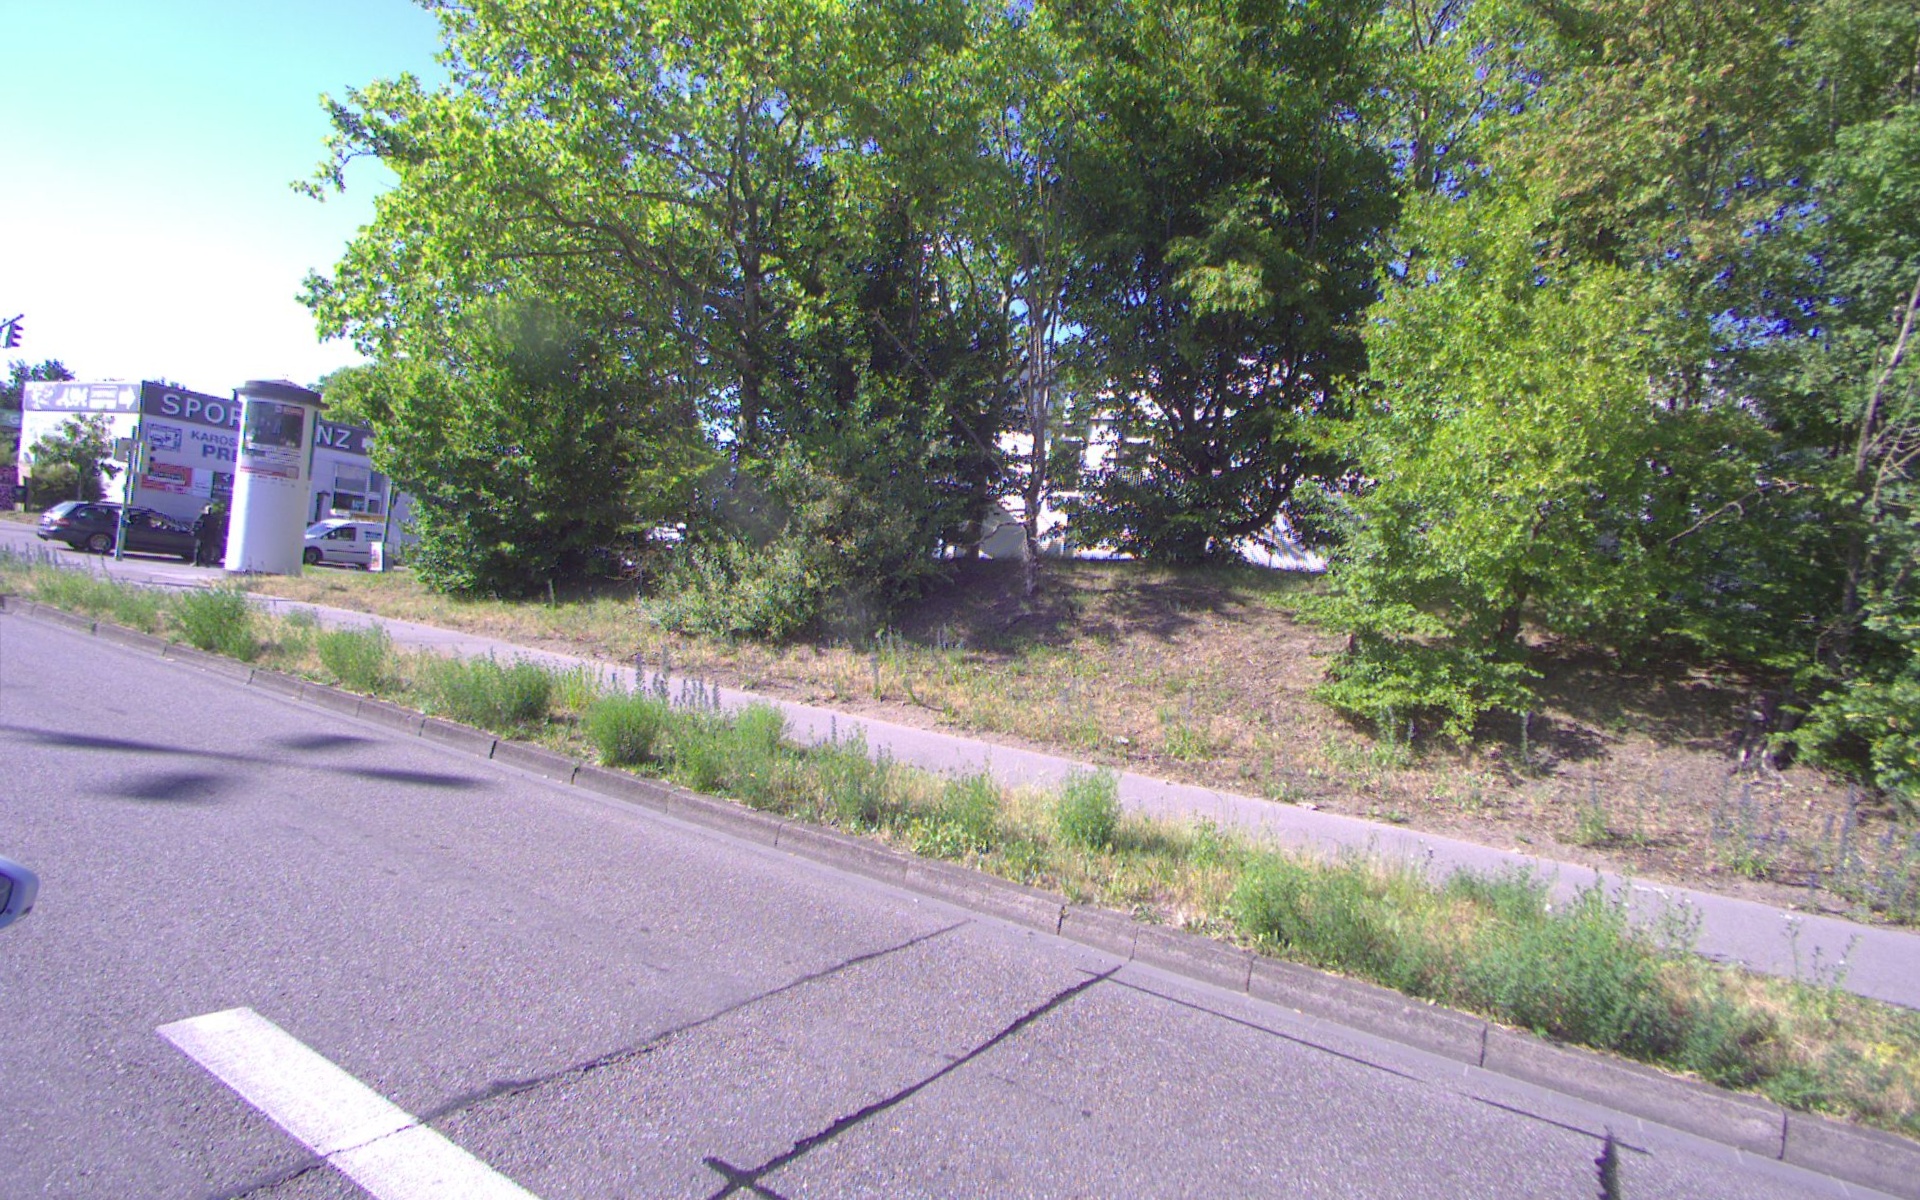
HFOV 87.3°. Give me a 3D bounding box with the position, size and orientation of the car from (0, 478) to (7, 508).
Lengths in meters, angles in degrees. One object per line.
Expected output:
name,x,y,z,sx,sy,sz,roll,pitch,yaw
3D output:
car,-49.234,-5.492,48.470,1.828,1.472,4.490,7,1,33

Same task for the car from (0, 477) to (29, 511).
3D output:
car,-46.883,-5.226,47.100,1.828,1.472,4.490,7,1,33

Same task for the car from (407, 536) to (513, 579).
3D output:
car,-23.022,-1.950,46.454,1.752,1.509,4.045,7,1,30

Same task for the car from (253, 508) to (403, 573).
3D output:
car,-23.876,-2.197,38.183,1.735,1.824,4.387,9,1,30

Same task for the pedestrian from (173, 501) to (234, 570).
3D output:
pedestrian,-21.048,-1.790,27.995,0.923,1.755,0.927,6,-1,31

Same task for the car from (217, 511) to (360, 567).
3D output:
car,-26.615,-2.381,40.020,1.735,1.568,4.292,9,1,30

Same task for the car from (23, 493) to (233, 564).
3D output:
car,-24.335,-2.058,29.602,1.736,1.509,4.412,7,1,33
